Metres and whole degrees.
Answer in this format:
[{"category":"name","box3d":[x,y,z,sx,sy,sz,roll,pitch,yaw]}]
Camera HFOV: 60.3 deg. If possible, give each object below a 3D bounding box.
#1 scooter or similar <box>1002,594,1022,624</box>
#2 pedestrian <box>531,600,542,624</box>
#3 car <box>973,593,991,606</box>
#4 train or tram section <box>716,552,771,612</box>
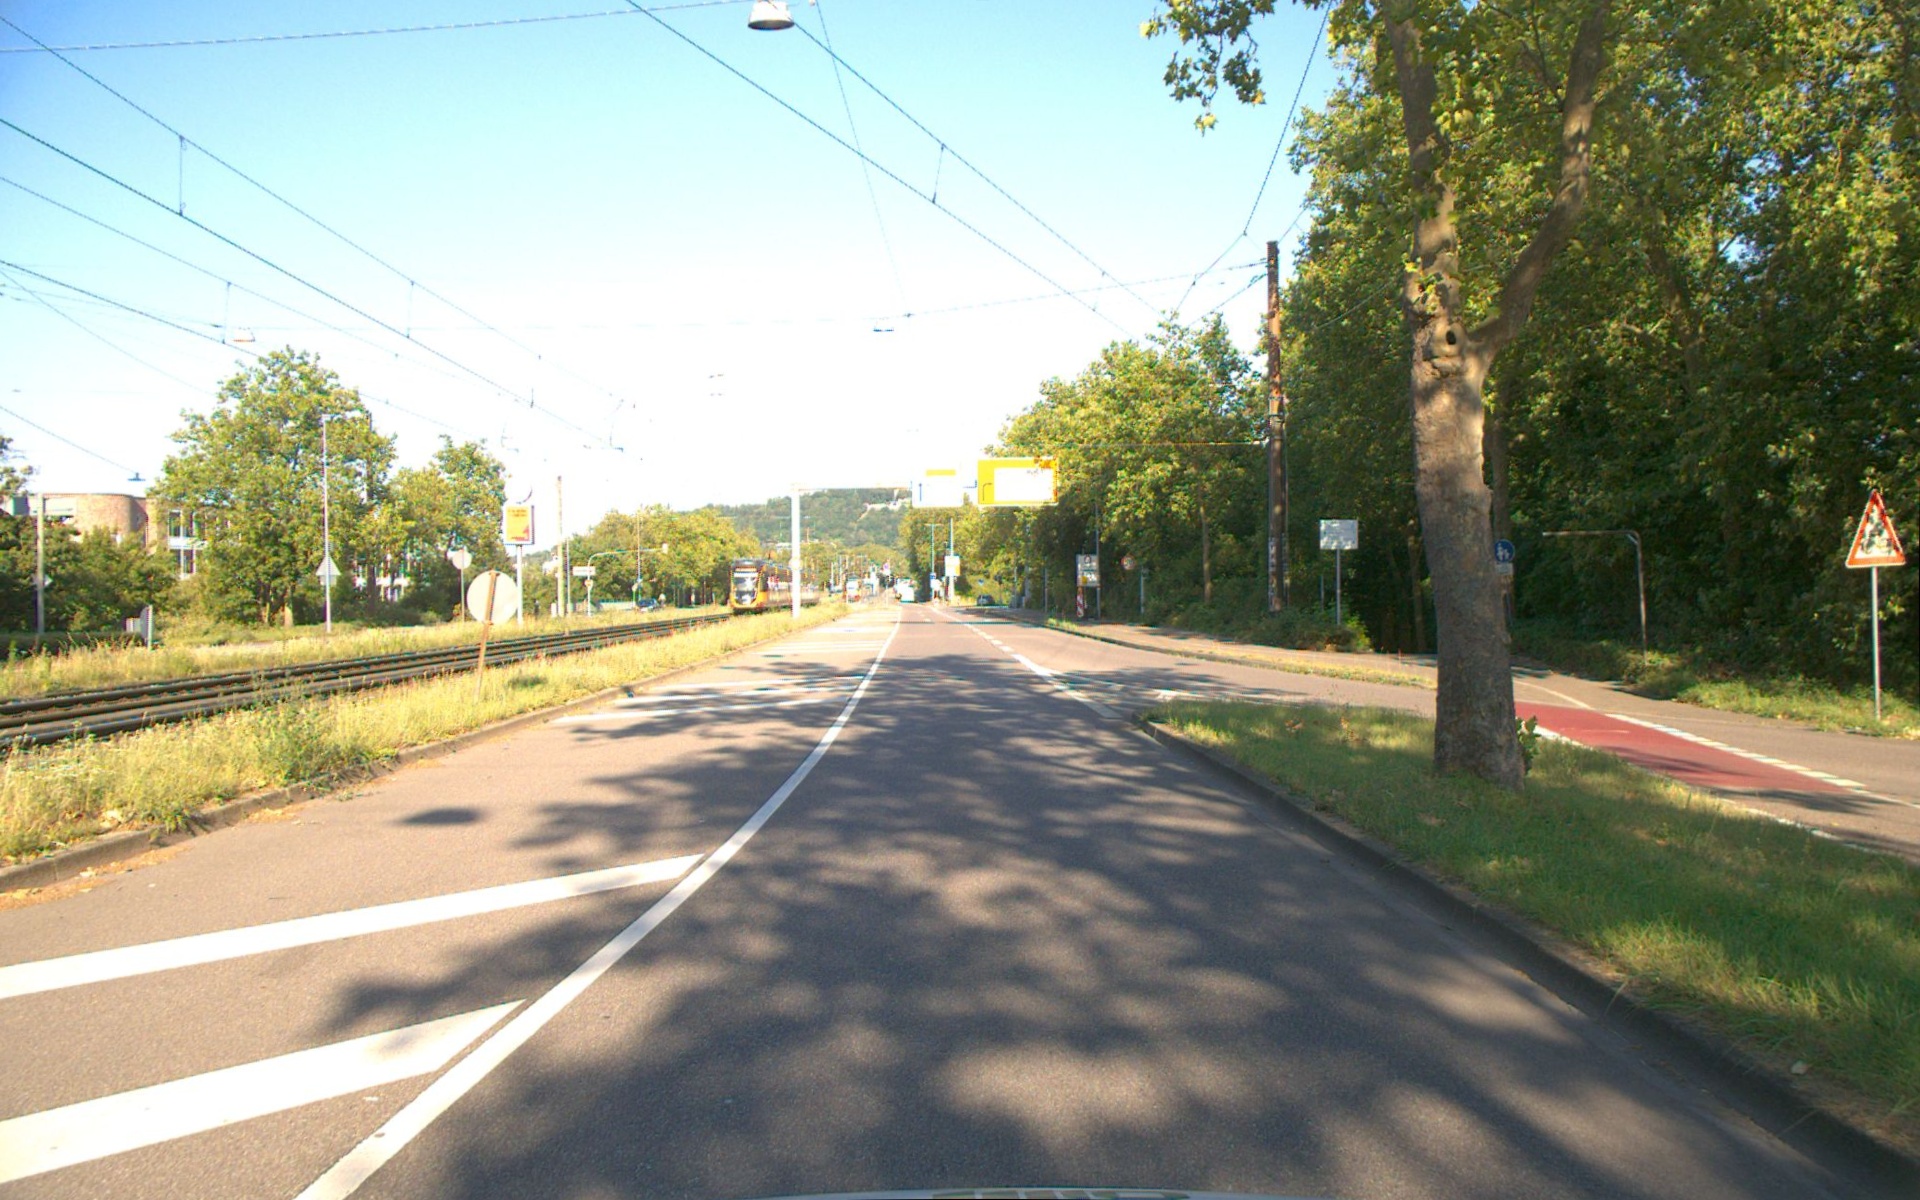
[{"category":"scooter or similar","box3d":[4.814,0.793,153.645,1.647,2.763,4.867,0,0,-1]},{"category":"pedestrian","box3d":[-32.994,0.923,128.879,0.529,1.853,0.651,0,0,20]},{"category":"car","box3d":[2.739,-0.113,207.959,2.042,1.593,3.957,0,0,4]},{"category":"train or tram section","box3d":[-15.238,-1.218,117.309,2.748,3.971,12.326,0,0,-2]}]
